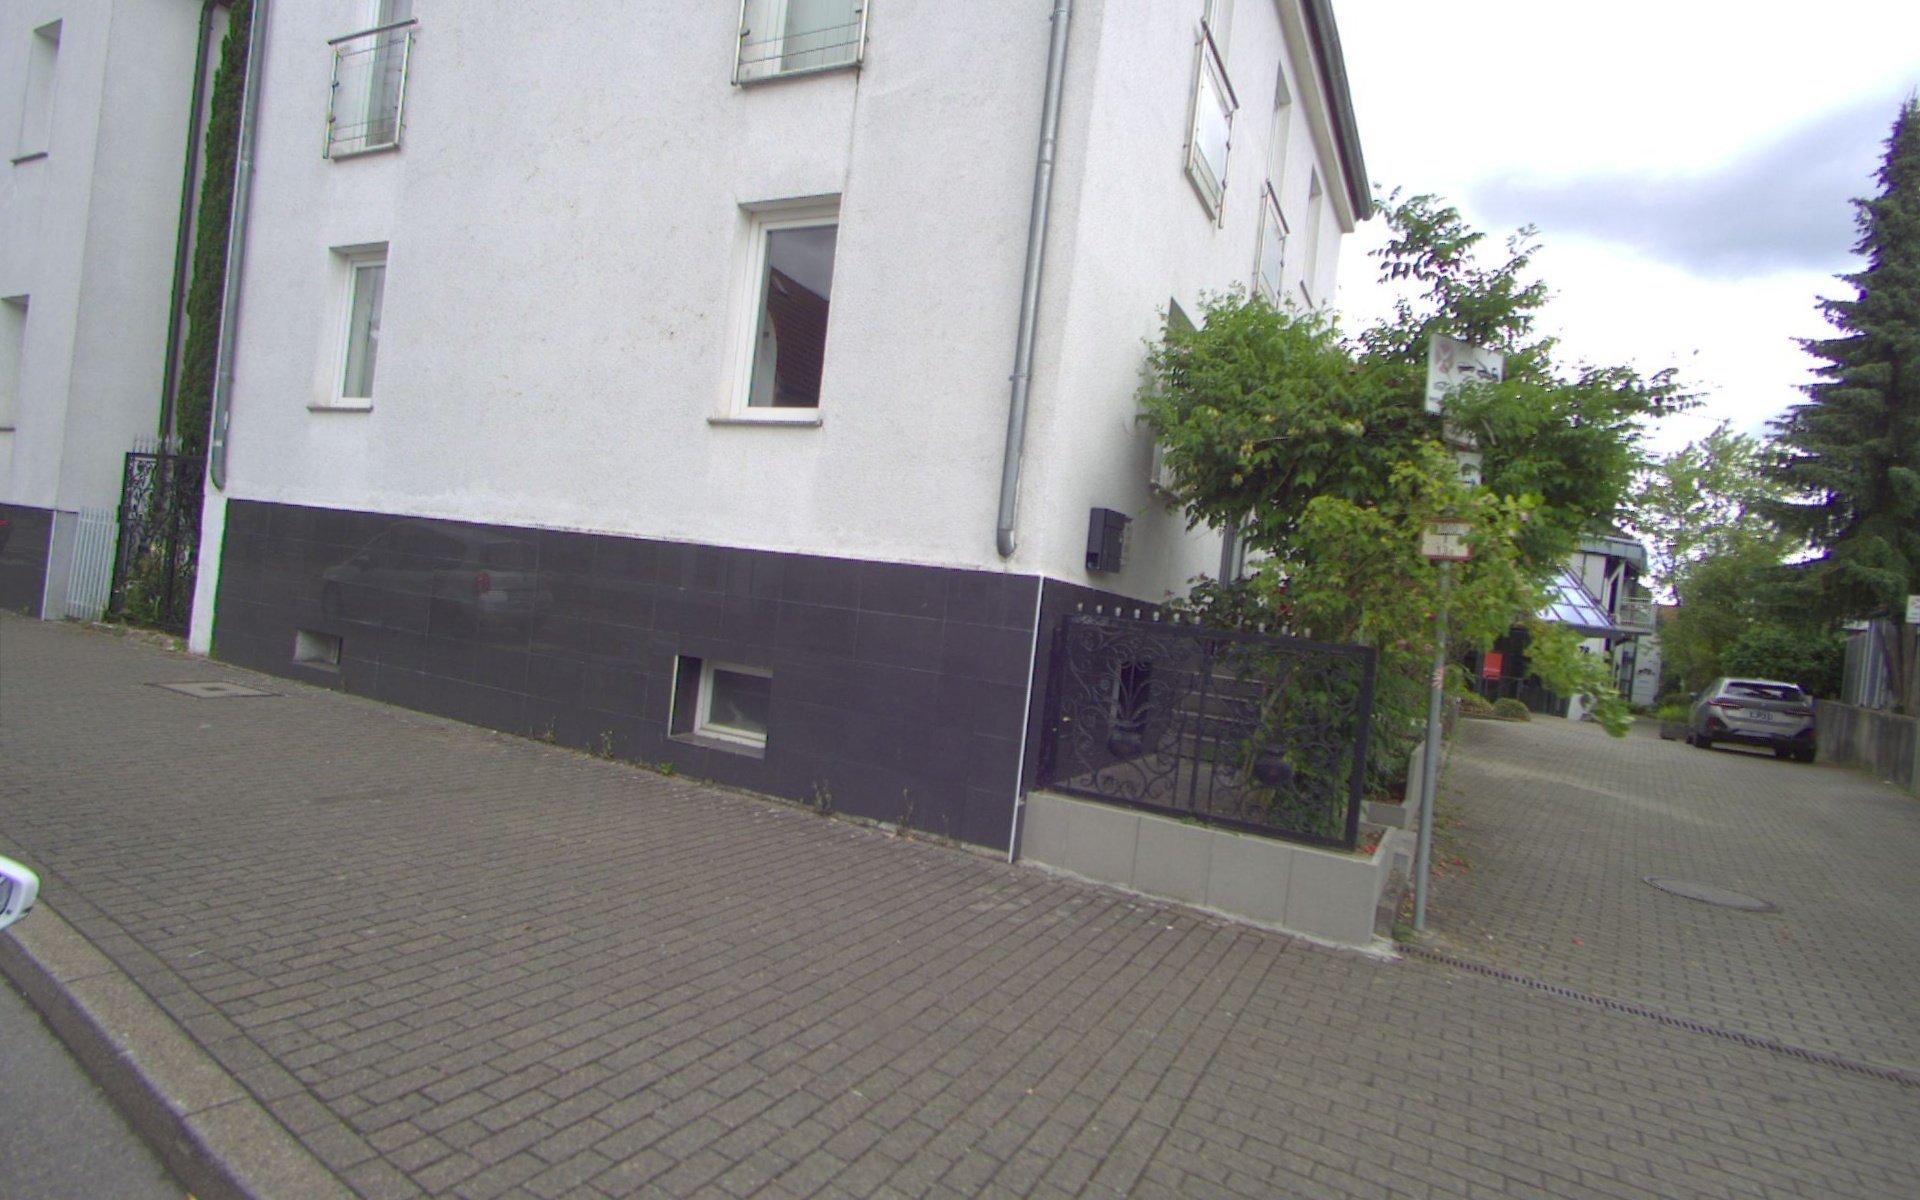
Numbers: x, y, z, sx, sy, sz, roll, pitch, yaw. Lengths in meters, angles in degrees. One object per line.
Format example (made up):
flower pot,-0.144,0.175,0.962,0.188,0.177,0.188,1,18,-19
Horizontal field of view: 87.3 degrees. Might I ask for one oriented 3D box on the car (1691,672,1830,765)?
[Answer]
car,16.203,2.338,20.545,1.722,1.488,3.989,7,0,34
